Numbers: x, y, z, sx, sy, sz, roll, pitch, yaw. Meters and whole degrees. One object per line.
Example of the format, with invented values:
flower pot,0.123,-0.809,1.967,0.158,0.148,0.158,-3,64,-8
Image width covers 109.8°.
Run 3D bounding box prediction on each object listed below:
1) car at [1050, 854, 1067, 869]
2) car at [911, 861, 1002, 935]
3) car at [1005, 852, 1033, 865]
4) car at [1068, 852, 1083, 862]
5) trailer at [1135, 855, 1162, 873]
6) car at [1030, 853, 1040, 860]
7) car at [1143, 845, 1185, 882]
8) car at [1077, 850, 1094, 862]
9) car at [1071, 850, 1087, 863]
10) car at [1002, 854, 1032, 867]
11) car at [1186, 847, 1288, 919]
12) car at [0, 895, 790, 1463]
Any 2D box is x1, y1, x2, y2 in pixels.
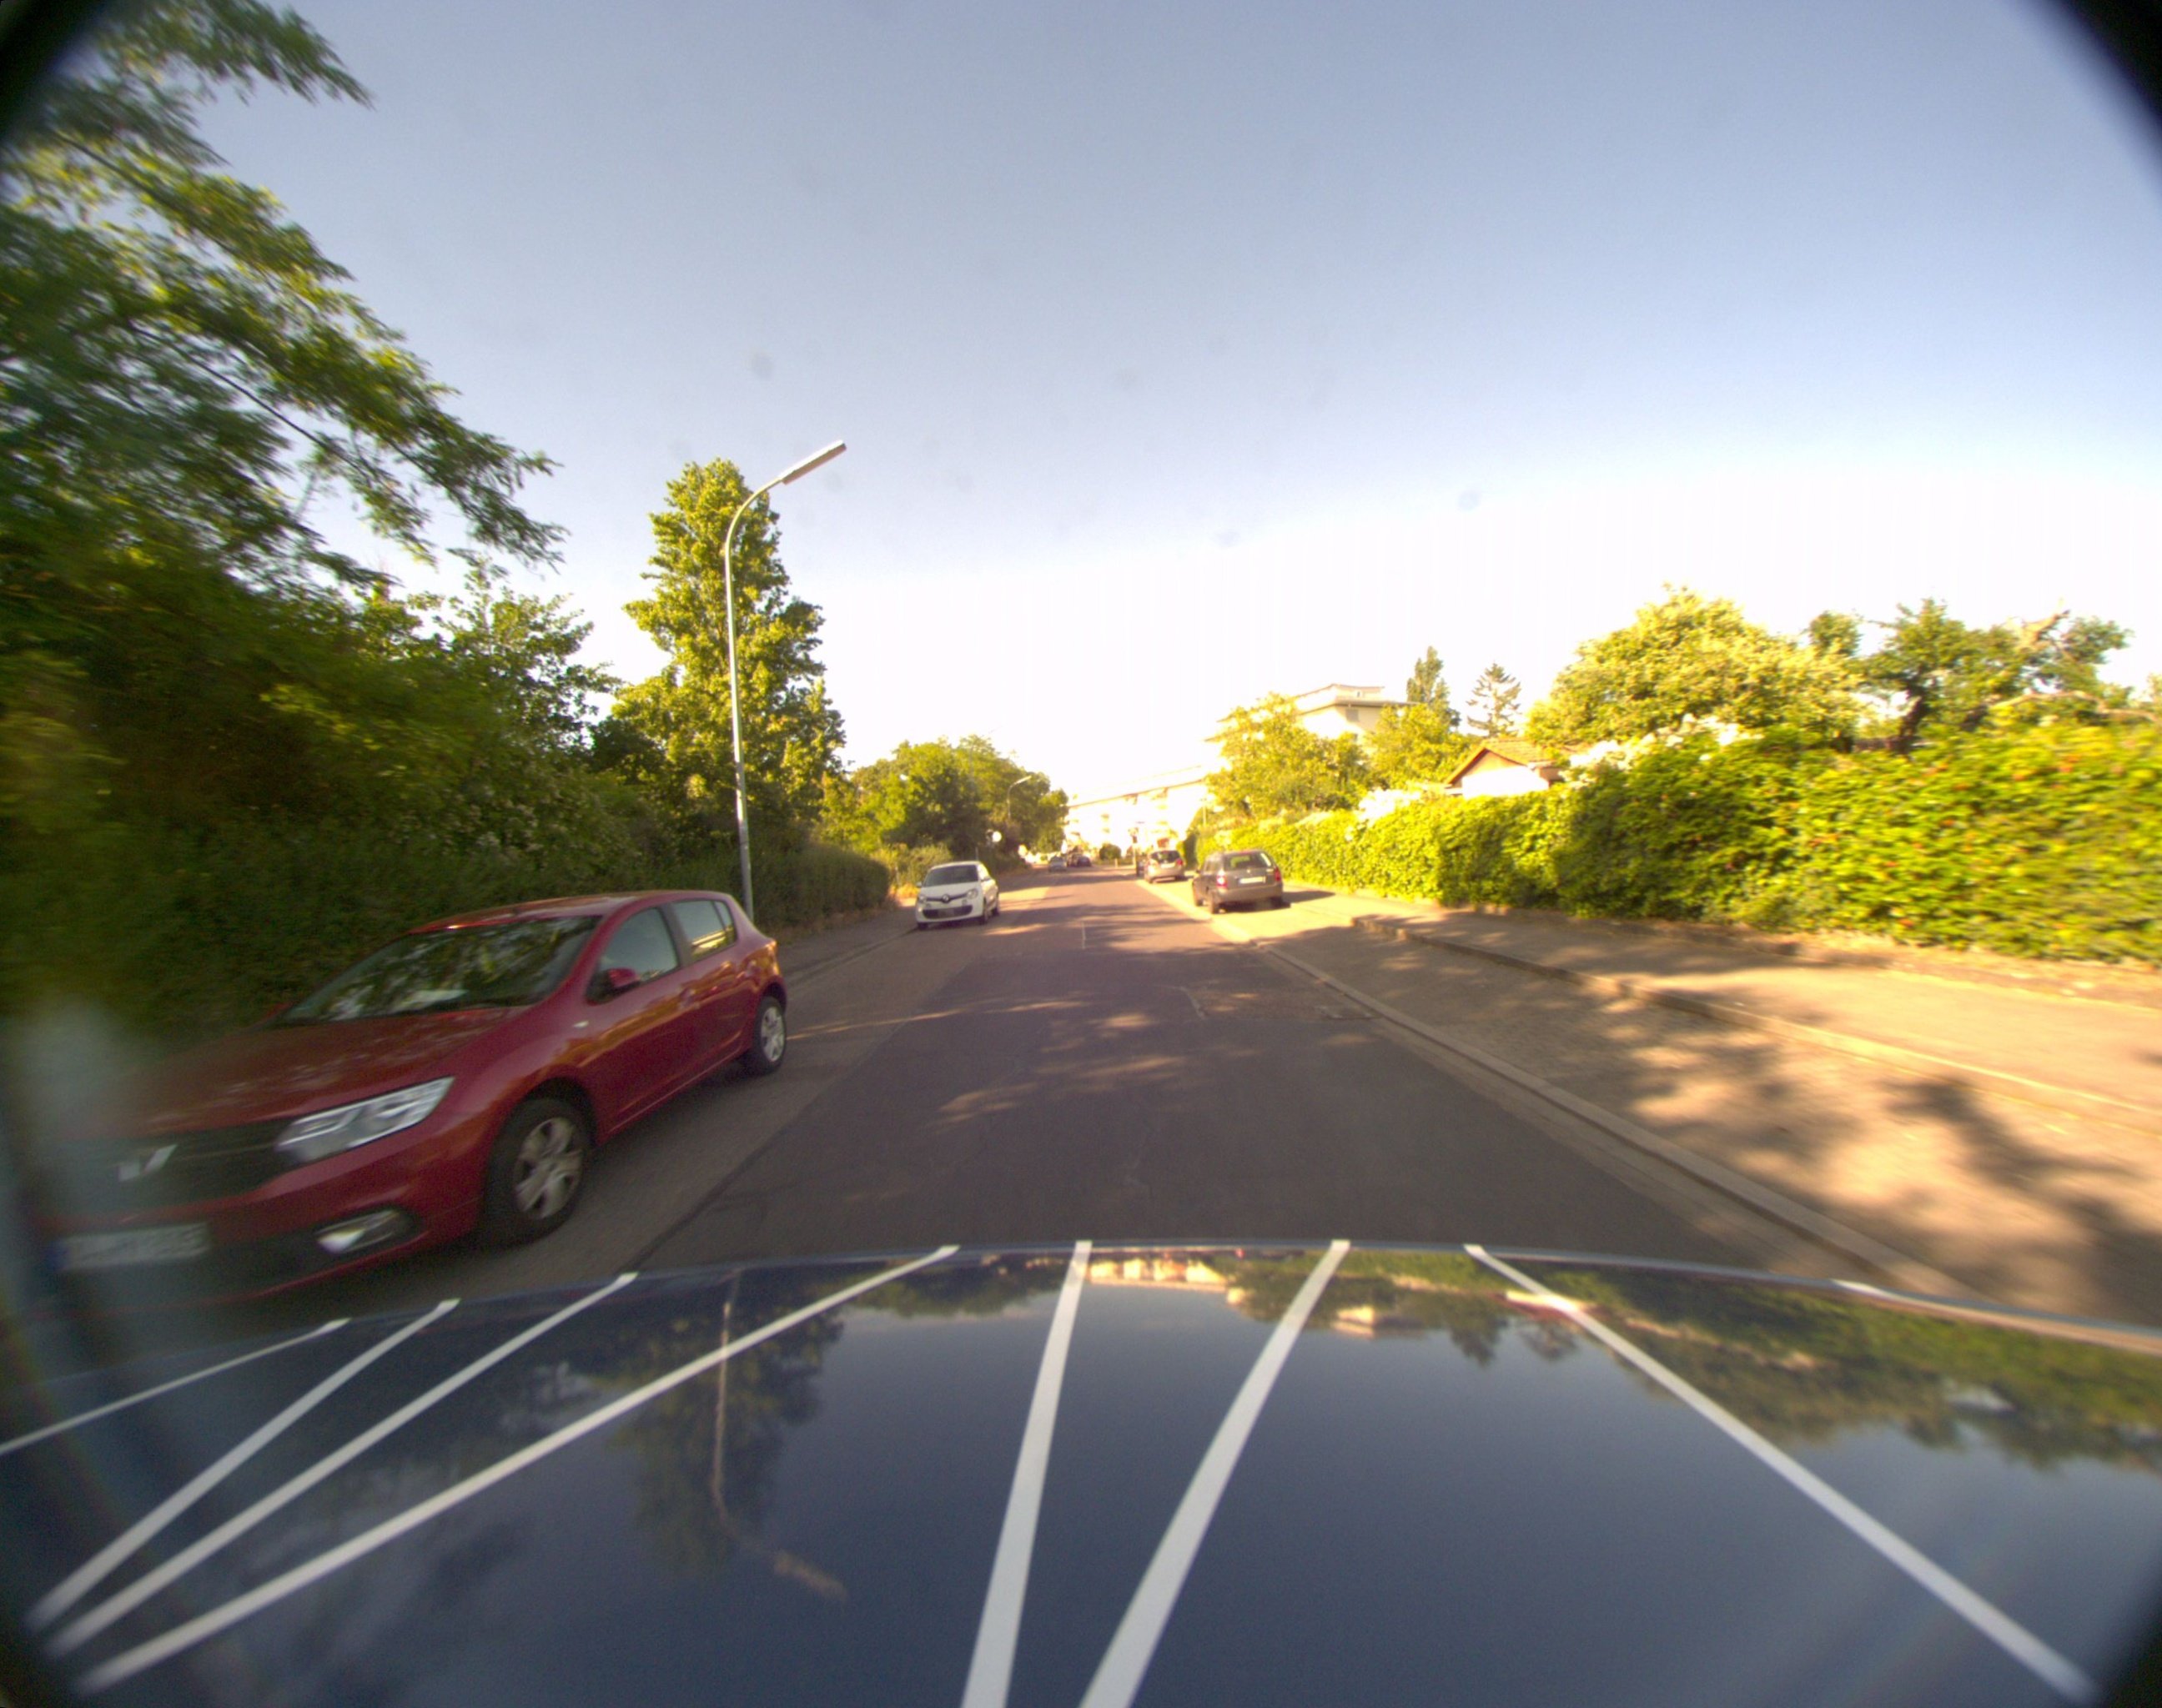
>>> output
car,-2.131,0.708,73.318,1.597,1.417,4.170,-1,0,-1
car,-3.061,1.034,19.399,1.559,1.529,3.555,-5,0,1
car,-9.995,0.751,122.400,4.464,2.005,2.020,-2,0,-4
car,-0.922,0.493,114.773,1.845,1.473,4.572,0,0,-6
trailer,4.218,0.626,47.564,1.548,0.948,2.647,-5,1,3
car,-12.404,0.667,205.873,2.008,1.837,4.612,-5,1,-9
car,4.000,0.413,37.032,1.647,1.590,4.312,-4,0,3
car,0.567,0.298,95.584,1.732,1.455,4.680,-2,-1,-5
car,-0.362,0.363,108.774,1.845,1.770,4.886,-2,0,-5
car,-9.280,0.928,109.752,4.160,1.685,1.774,-2,0,-3
car,3.812,0.627,19.296,1.647,1.547,4.417,-3,0,0
car,-3.281,1.159,4.308,1.659,1.478,3.838,-5,0,0
